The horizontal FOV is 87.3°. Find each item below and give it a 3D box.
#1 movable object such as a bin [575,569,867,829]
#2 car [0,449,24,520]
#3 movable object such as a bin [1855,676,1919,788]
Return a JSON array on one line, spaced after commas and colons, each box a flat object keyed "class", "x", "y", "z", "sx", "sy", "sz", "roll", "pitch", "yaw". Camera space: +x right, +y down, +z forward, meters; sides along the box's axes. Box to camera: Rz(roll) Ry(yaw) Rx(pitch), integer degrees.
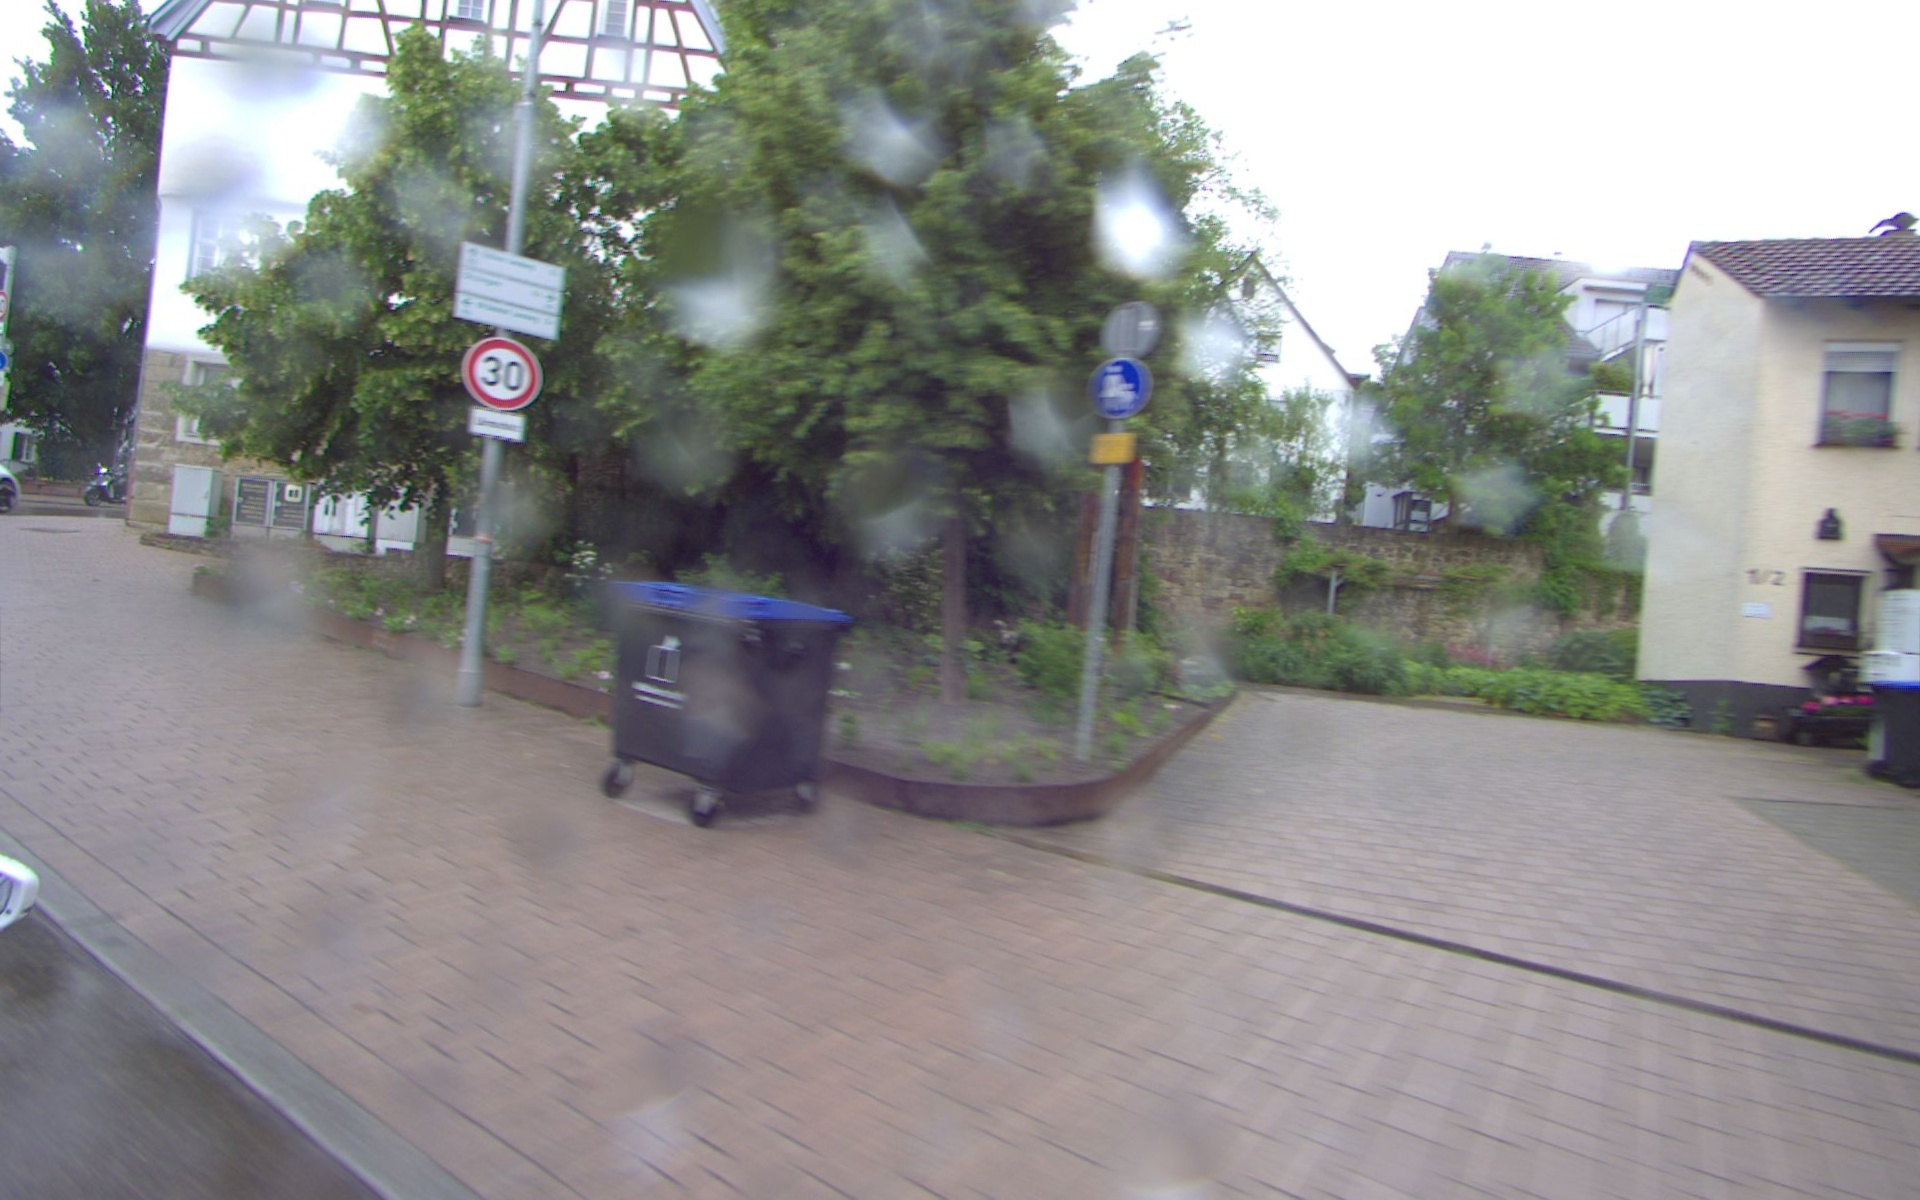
[{"class": "movable object such as a bin", "x": -1.451, "y": 0.570, "z": 6.171, "sx": 1.169, "sy": 1.329, "sz": 1.154, "roll": 6, "pitch": -1, "yaw": 38}, {"class": "car", "x": -21.135, "y": -2.509, "z": 20.067, "sx": 1.833, "sy": 1.492, "sz": 3.985, "roll": 6, "pitch": 2, "yaw": -15}, {"class": "movable object such as a bin", "x": 8.578, "y": 1.180, "z": 9.062, "sx": 0.583, "sy": 0.934, "sz": 0.657, "roll": 1, "pitch": 0, "yaw": 24}]
